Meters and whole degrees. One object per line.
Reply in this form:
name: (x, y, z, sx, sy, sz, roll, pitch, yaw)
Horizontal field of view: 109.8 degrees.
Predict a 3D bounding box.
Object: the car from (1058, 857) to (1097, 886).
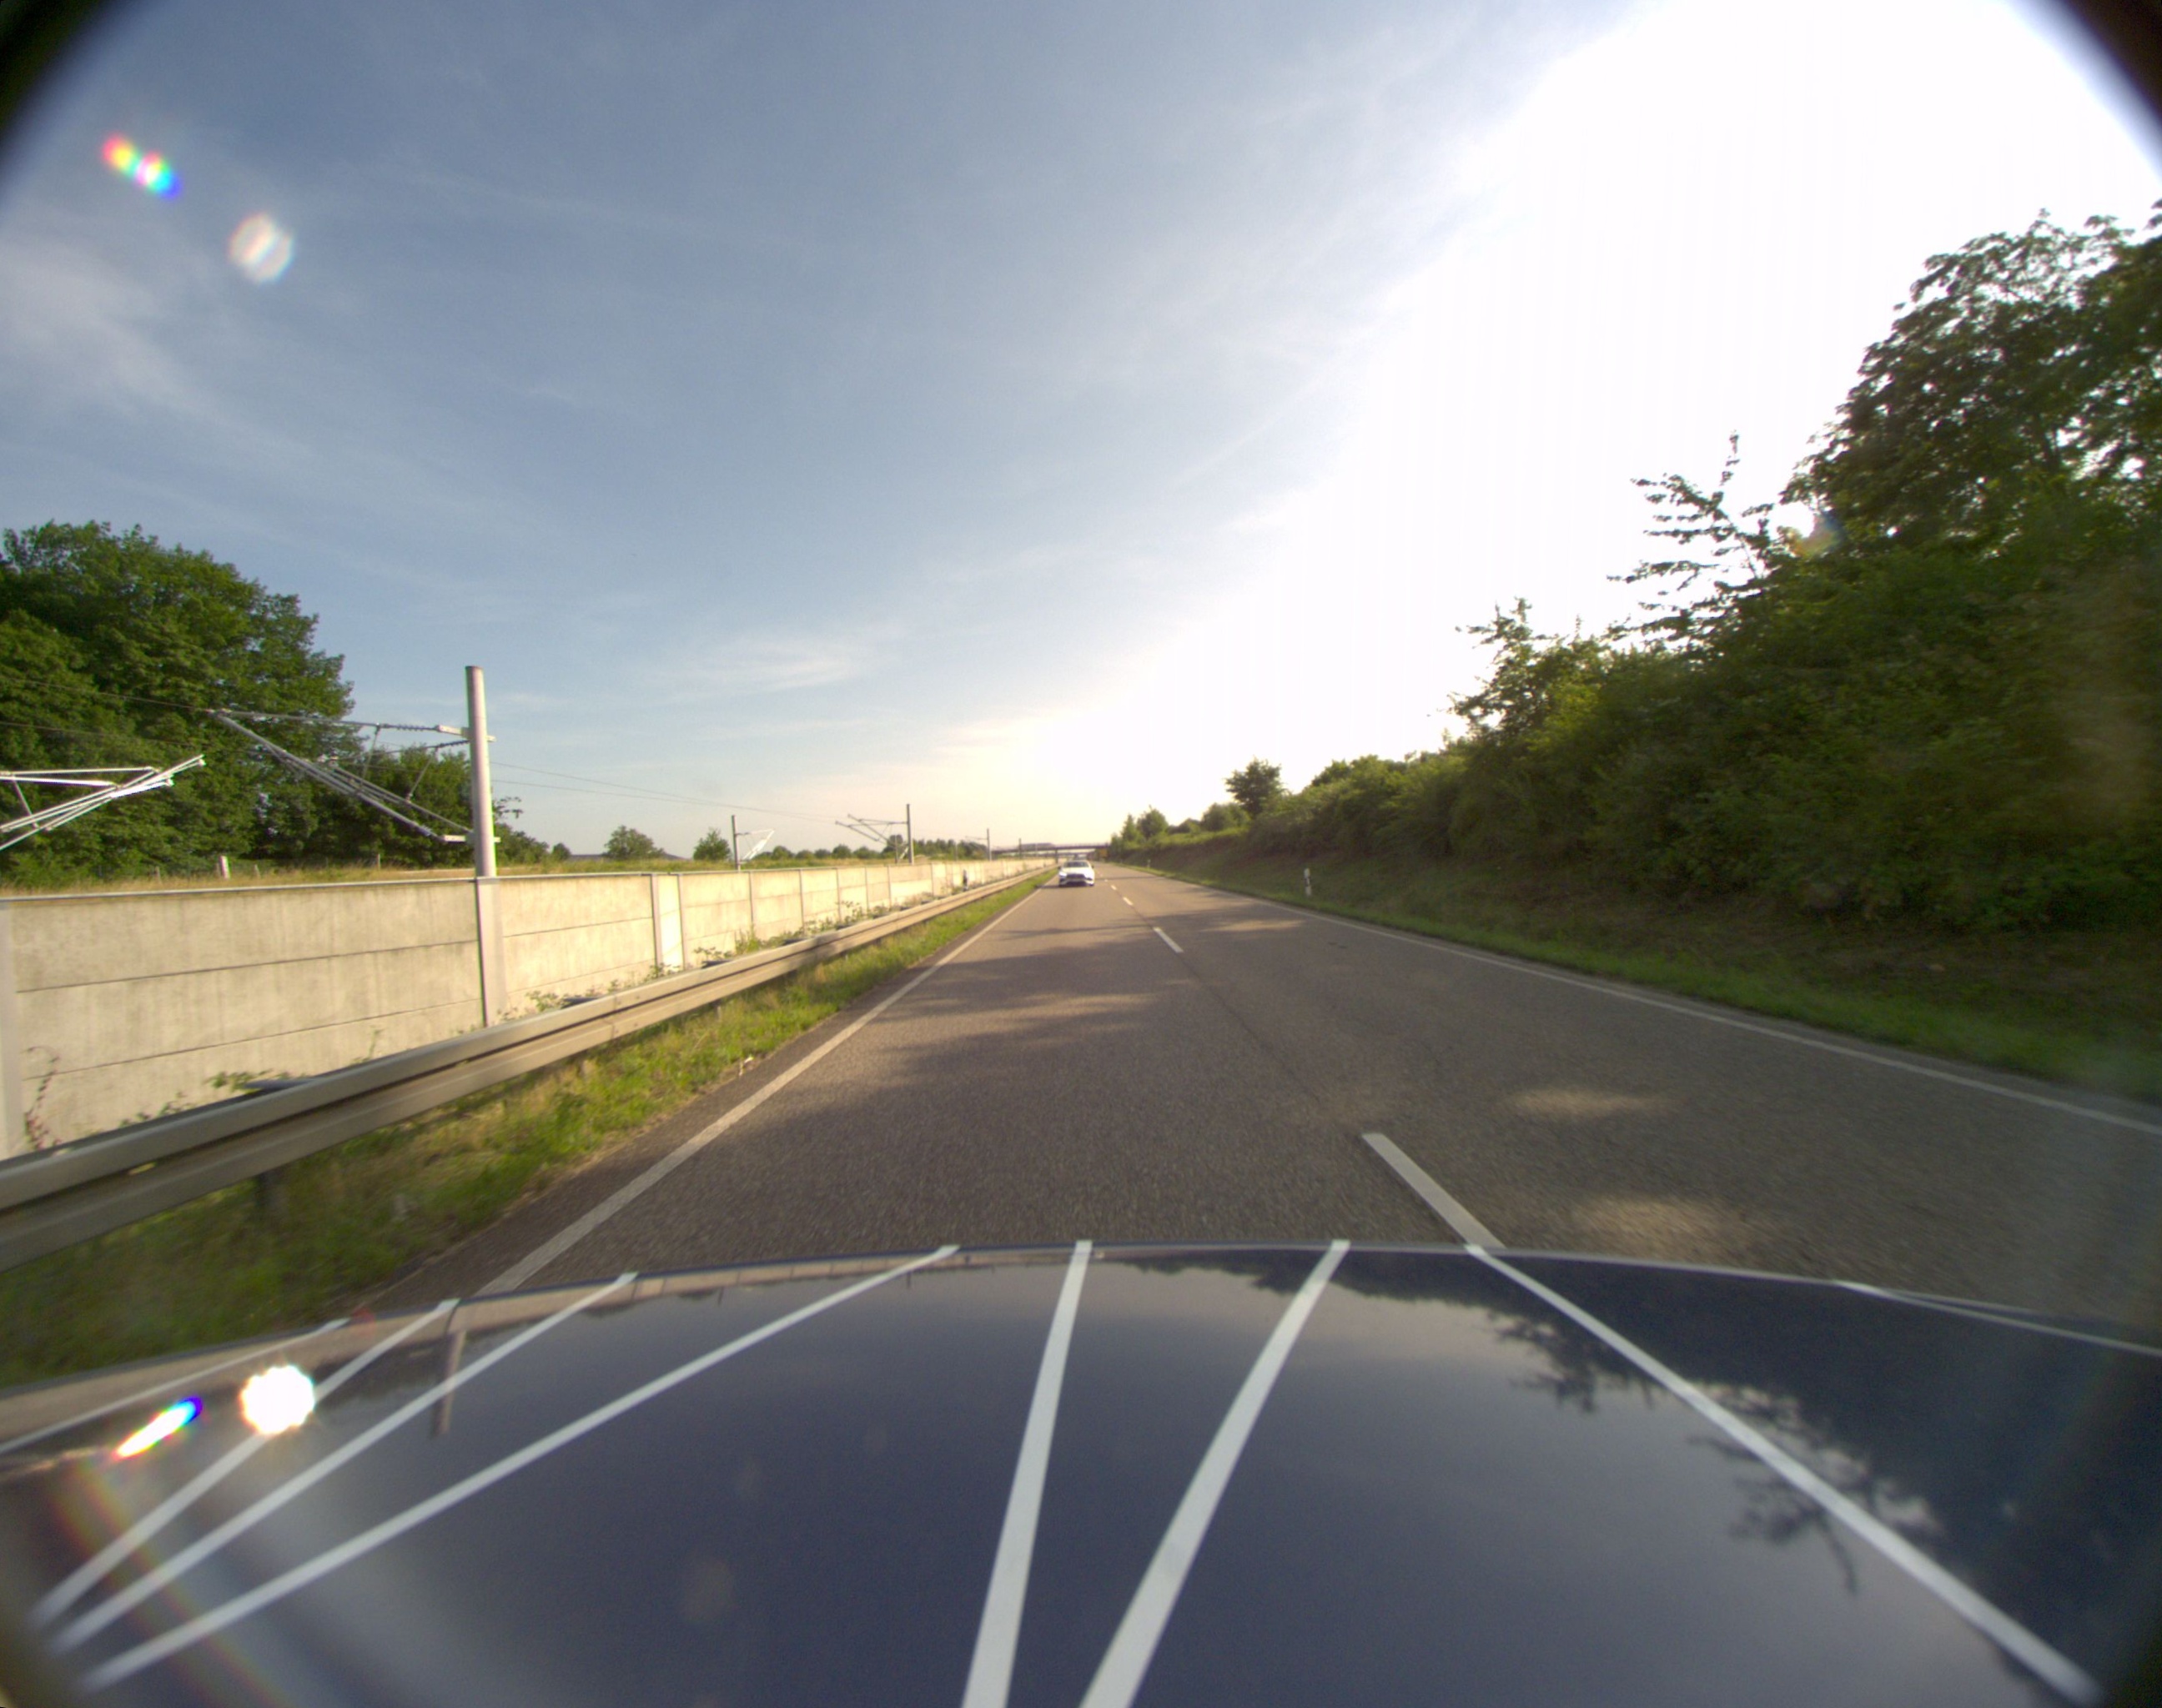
car: (-0.176, 0.933, 41.801, 1.953, 1.430, 4.612, -2, 0, 0)
